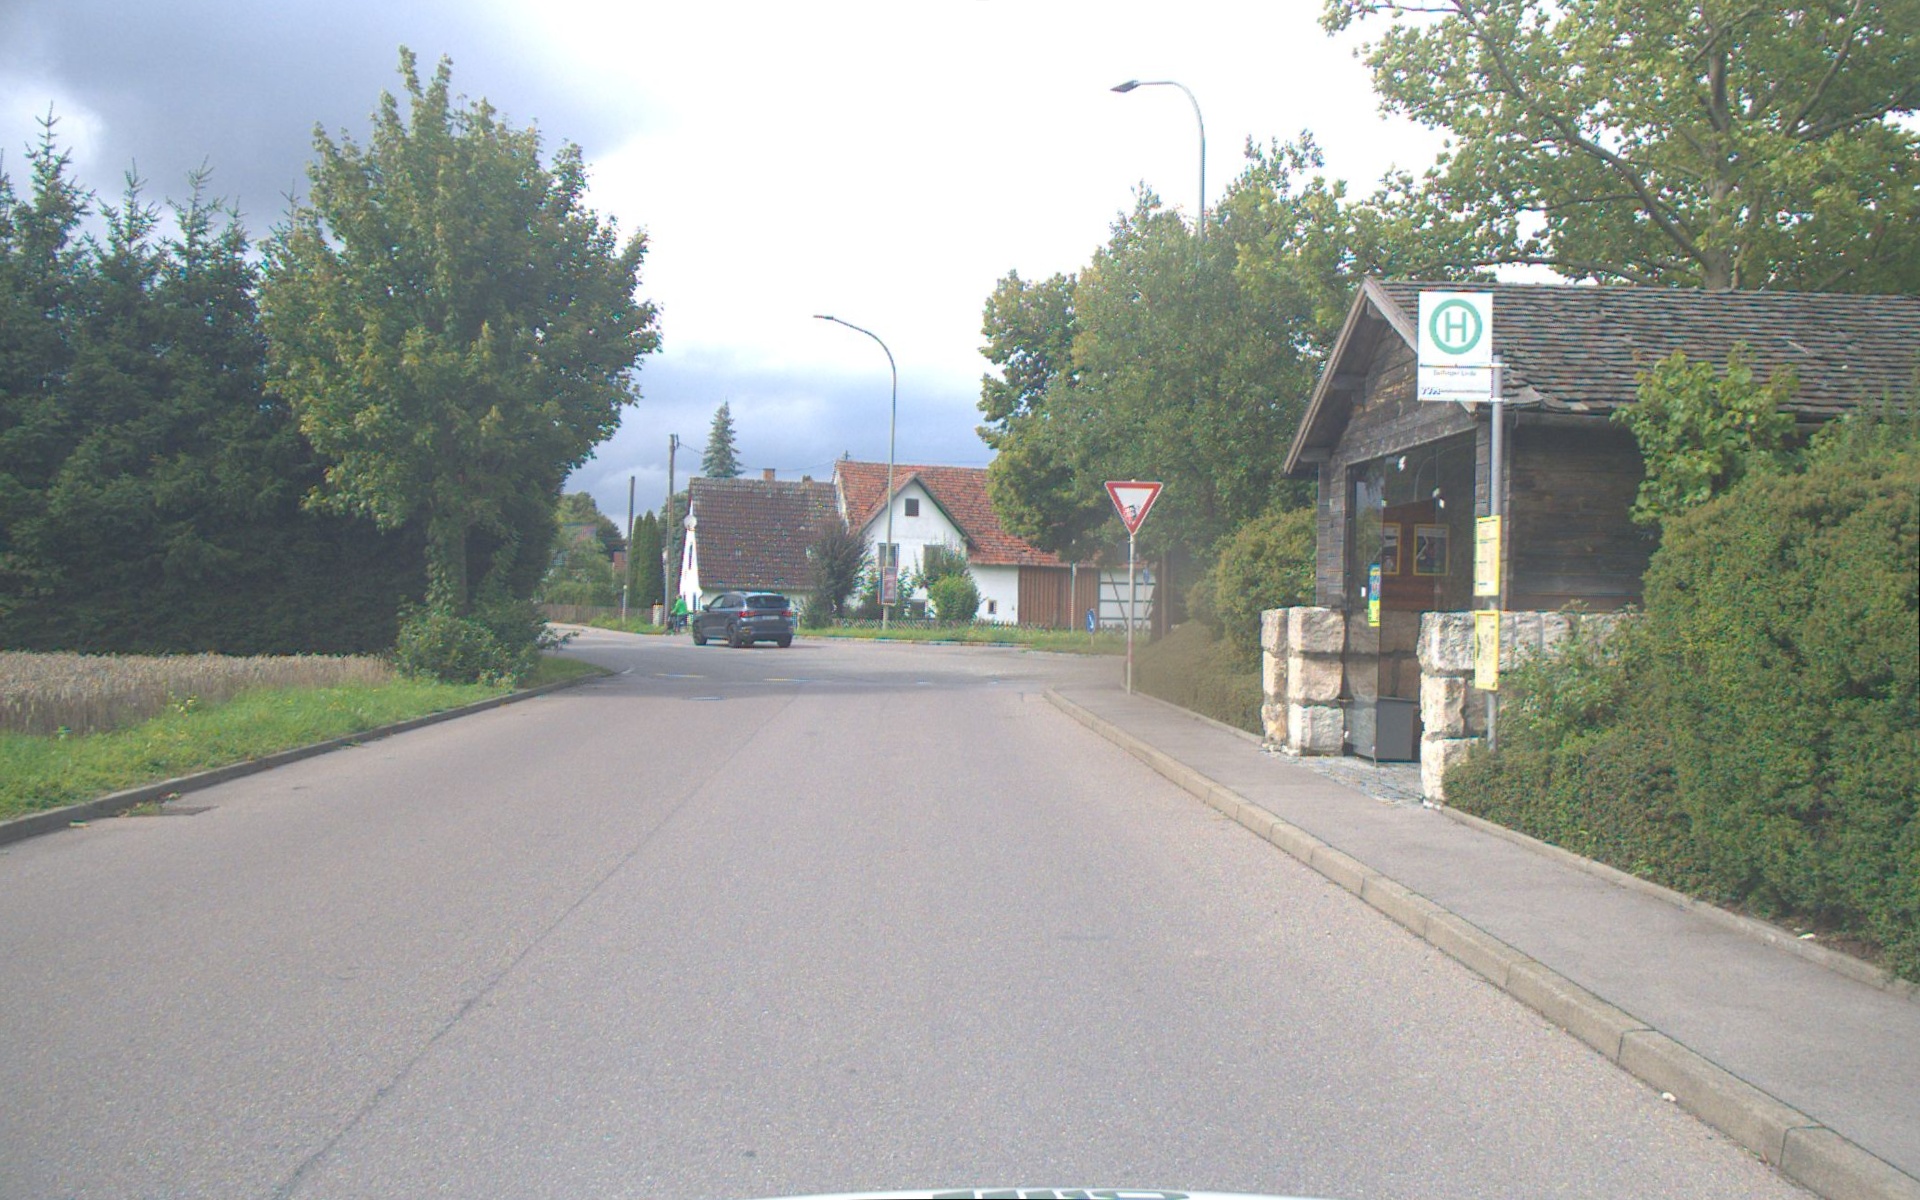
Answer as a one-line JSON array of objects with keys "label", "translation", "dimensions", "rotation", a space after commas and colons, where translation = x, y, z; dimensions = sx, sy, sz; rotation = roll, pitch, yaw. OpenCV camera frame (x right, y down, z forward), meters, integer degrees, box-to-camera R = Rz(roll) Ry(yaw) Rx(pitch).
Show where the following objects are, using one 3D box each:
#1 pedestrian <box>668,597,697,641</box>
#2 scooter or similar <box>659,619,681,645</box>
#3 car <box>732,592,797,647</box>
[{"label": "pedestrian", "translation": [-10.992, 0.756, 65.564], "dimensions": [0.782, 1.694, 0.704], "rotation": [6, -3, -35]}, {"label": "scooter or similar", "translation": [-11.576, 1.265, 66.017], "dimensions": [0.625, 0.964, 0.615], "rotation": [6, -3, -34]}, {"label": "car", "translation": [-5.618, 0.538, 47.813], "dimensions": [1.764, 1.488, 3.657], "rotation": [1, 0, -6]}]
